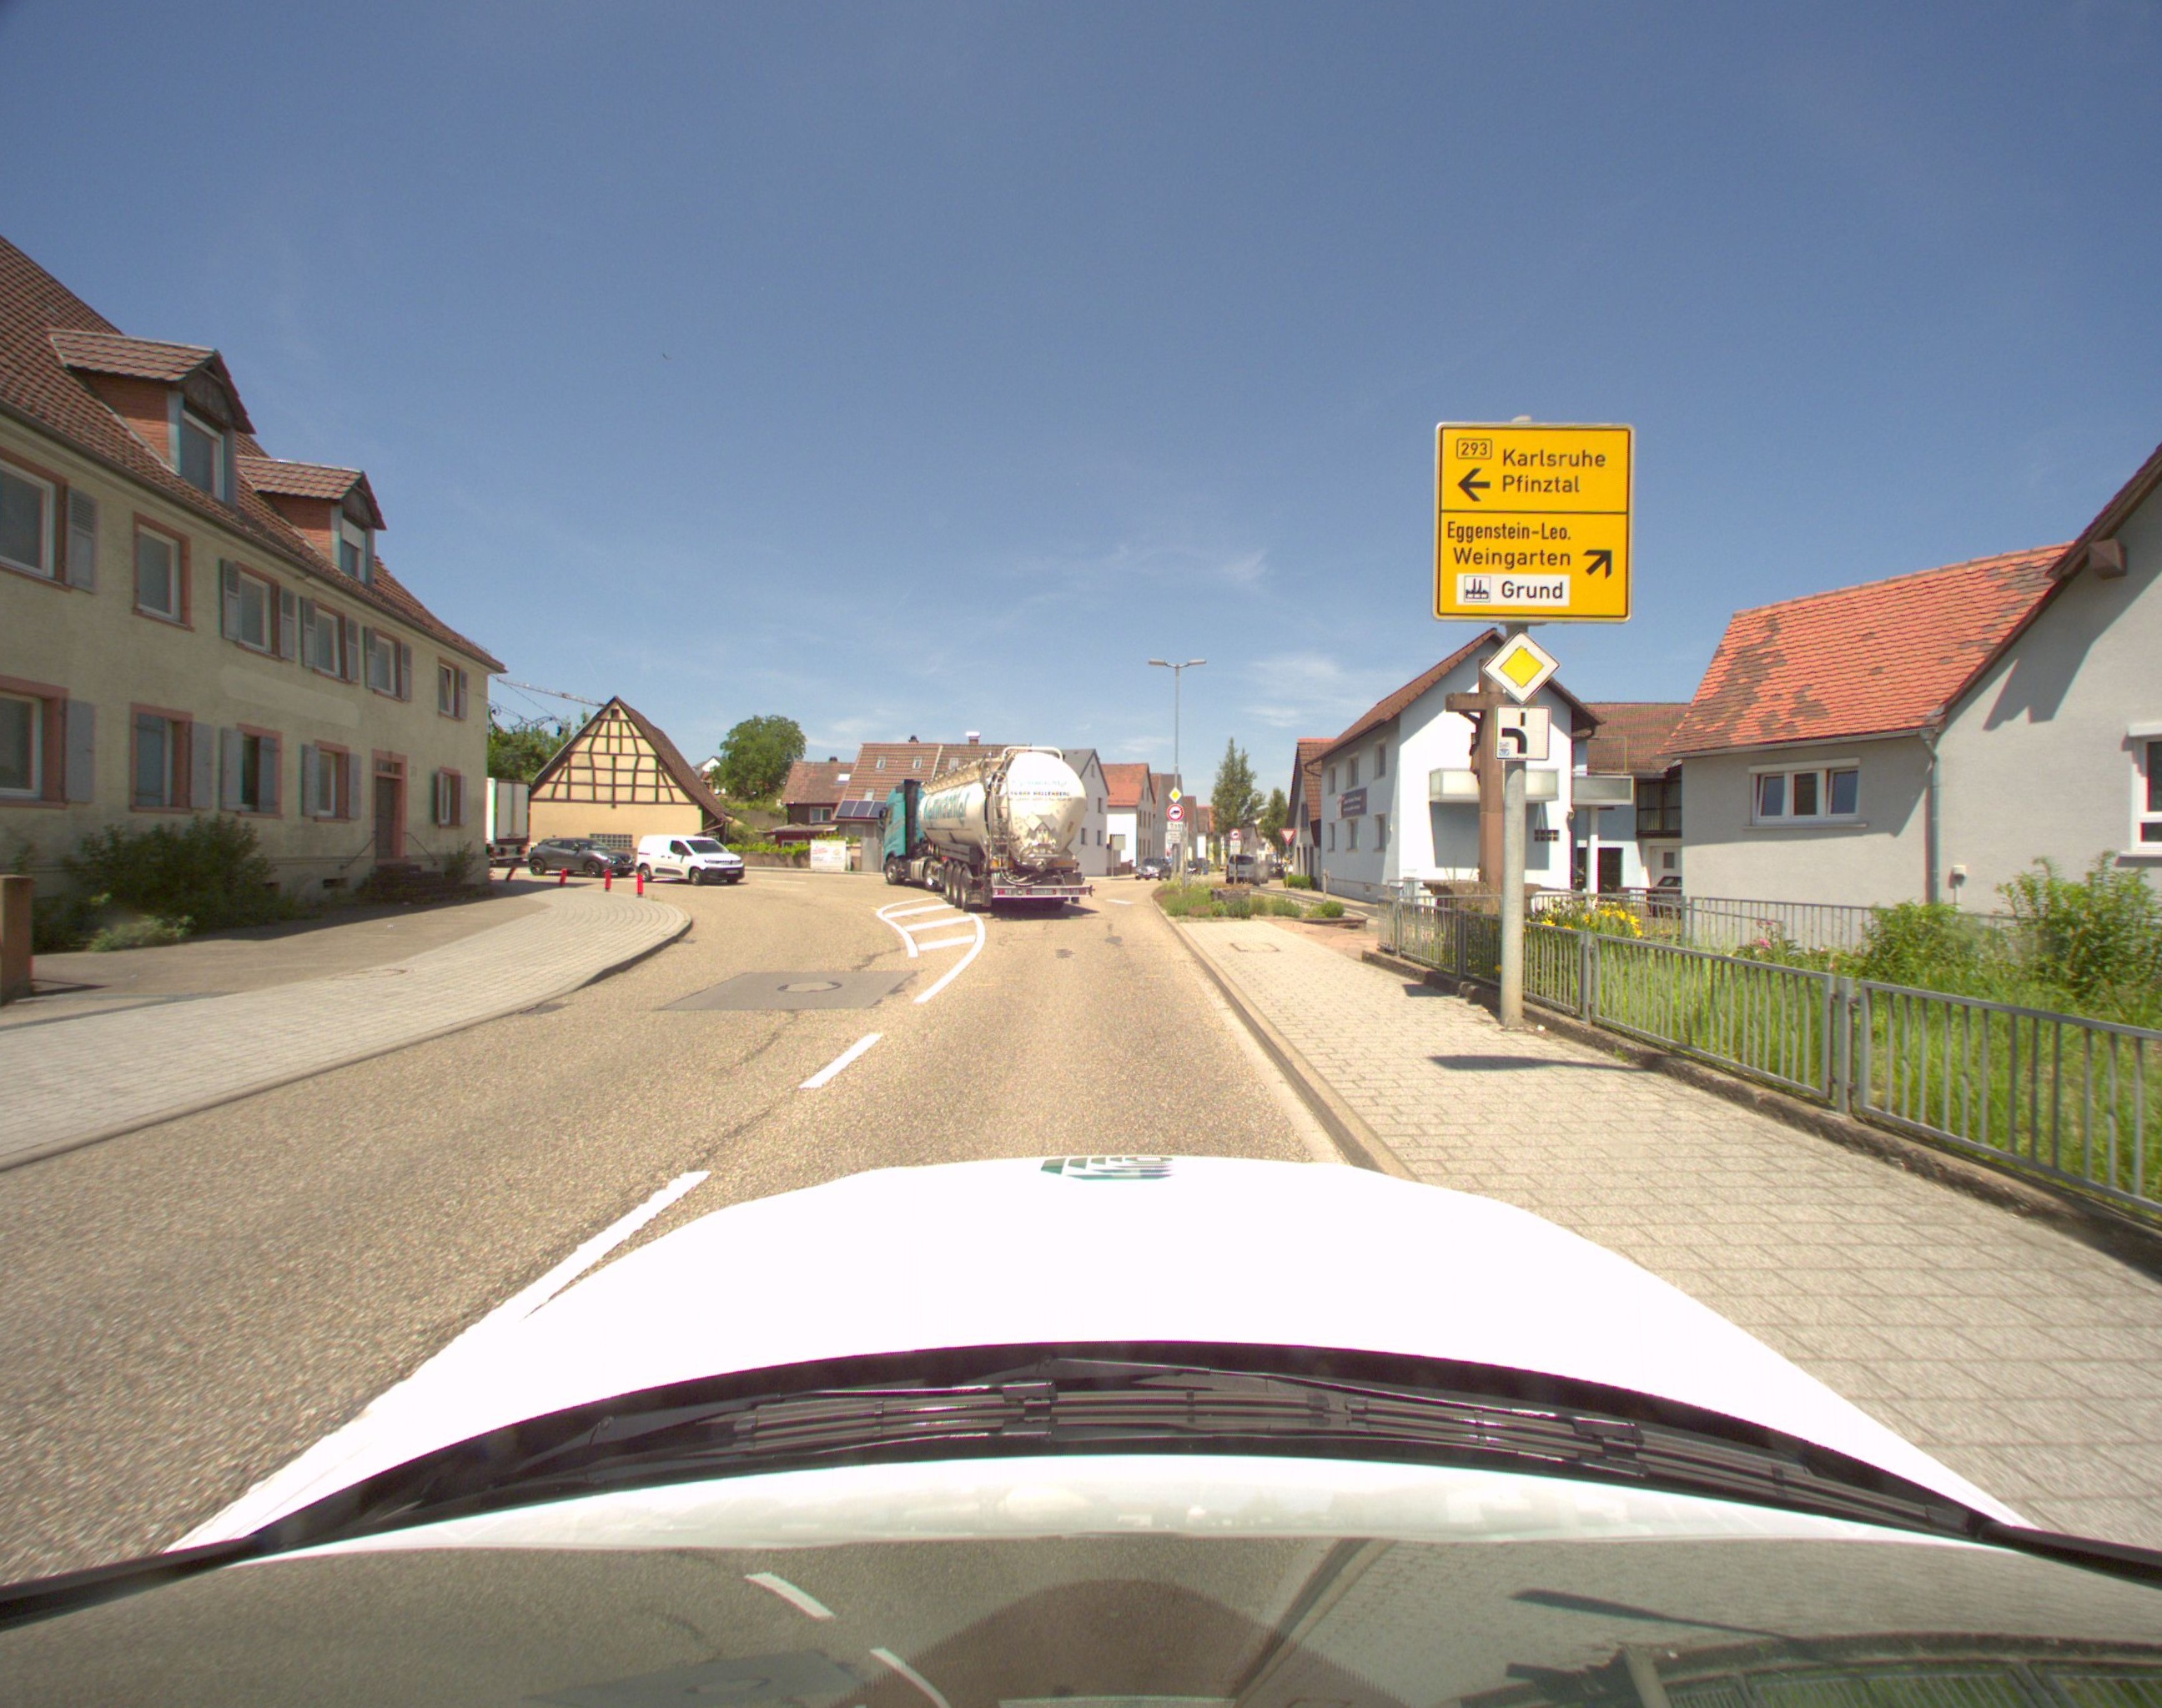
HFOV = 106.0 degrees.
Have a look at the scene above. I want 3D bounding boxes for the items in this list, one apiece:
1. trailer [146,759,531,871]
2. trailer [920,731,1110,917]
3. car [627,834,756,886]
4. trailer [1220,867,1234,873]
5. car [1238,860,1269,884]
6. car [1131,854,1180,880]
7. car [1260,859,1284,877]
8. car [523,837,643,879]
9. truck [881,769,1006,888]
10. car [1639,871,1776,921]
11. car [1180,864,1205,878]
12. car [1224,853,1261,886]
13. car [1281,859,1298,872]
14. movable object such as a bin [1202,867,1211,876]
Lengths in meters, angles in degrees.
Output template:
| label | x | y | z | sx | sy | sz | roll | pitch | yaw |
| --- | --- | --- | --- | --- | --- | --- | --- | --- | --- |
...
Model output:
| label | x | y | z | sx | sy | sz | roll | pitch | yaw |
| --- | --- | --- | --- | --- | --- | --- | --- | --- | --- |
| trailer | -31.868 | -1.553 | 35.688 | 12.458 | 4.277 | 3.130 | 1 | -1 | -11 |
| trailer | -2.474 | -0.630 | 23.303 | 2.959 | 3.948 | 11.552 | 2 | 0 | -17 |
| car | -14.788 | 0.198 | 30.904 | 4.467 | 1.785 | 1.890 | 2 | 1 | 23 |
| trailer | 21.523 | 2.335 | 120.485 | 1.939 | 0.777 | 2.726 | 2 | 0 | 8 |
| car | 12.364 | 1.286 | 58.230 | 1.803 | 1.634 | 4.225 | 1 | 0 | 16 |
| car | 5.246 | 0.935 | 56.756 | 1.975 | 1.675 | 4.337 | 1 | -1 | 25 |
| car | 17.782 | 1.301 | 75.696 | 1.979 | 1.585 | 4.016 | 1 | 0 | 15 |
| car | -20.280 | 0.145 | 33.228 | 3.960 | 1.524 | 1.804 | 2 | 0 | 12 |
| truck | -5.231 | -0.839 | 30.177 | 3.005 | 3.965 | 5.528 | 1 | 0 | -28 |
| car | 20.292 | 1.323 | 26.390 | 3.736 | 1.453 | 1.803 | 0 | 0 | -20 |
| car | 12.682 | 1.909 | 92.470 | 1.702 | 1.596 | 4.021 | 2 | 0 | 23 |
| car | 10.139 | 1.000 | 51.002 | 1.979 | 1.912 | 4.340 | 1 | -2 | 14 |
| car | 26.041 | 1.412 | 101.660 | 1.979 | 1.585 | 4.016 | 1 | 0 | 15 |
| movable object such as a bin | 15.042 | 2.124 | 97.442 | 0.912 | 1.049 | 0.947 | 2 | 0 | 17 |
